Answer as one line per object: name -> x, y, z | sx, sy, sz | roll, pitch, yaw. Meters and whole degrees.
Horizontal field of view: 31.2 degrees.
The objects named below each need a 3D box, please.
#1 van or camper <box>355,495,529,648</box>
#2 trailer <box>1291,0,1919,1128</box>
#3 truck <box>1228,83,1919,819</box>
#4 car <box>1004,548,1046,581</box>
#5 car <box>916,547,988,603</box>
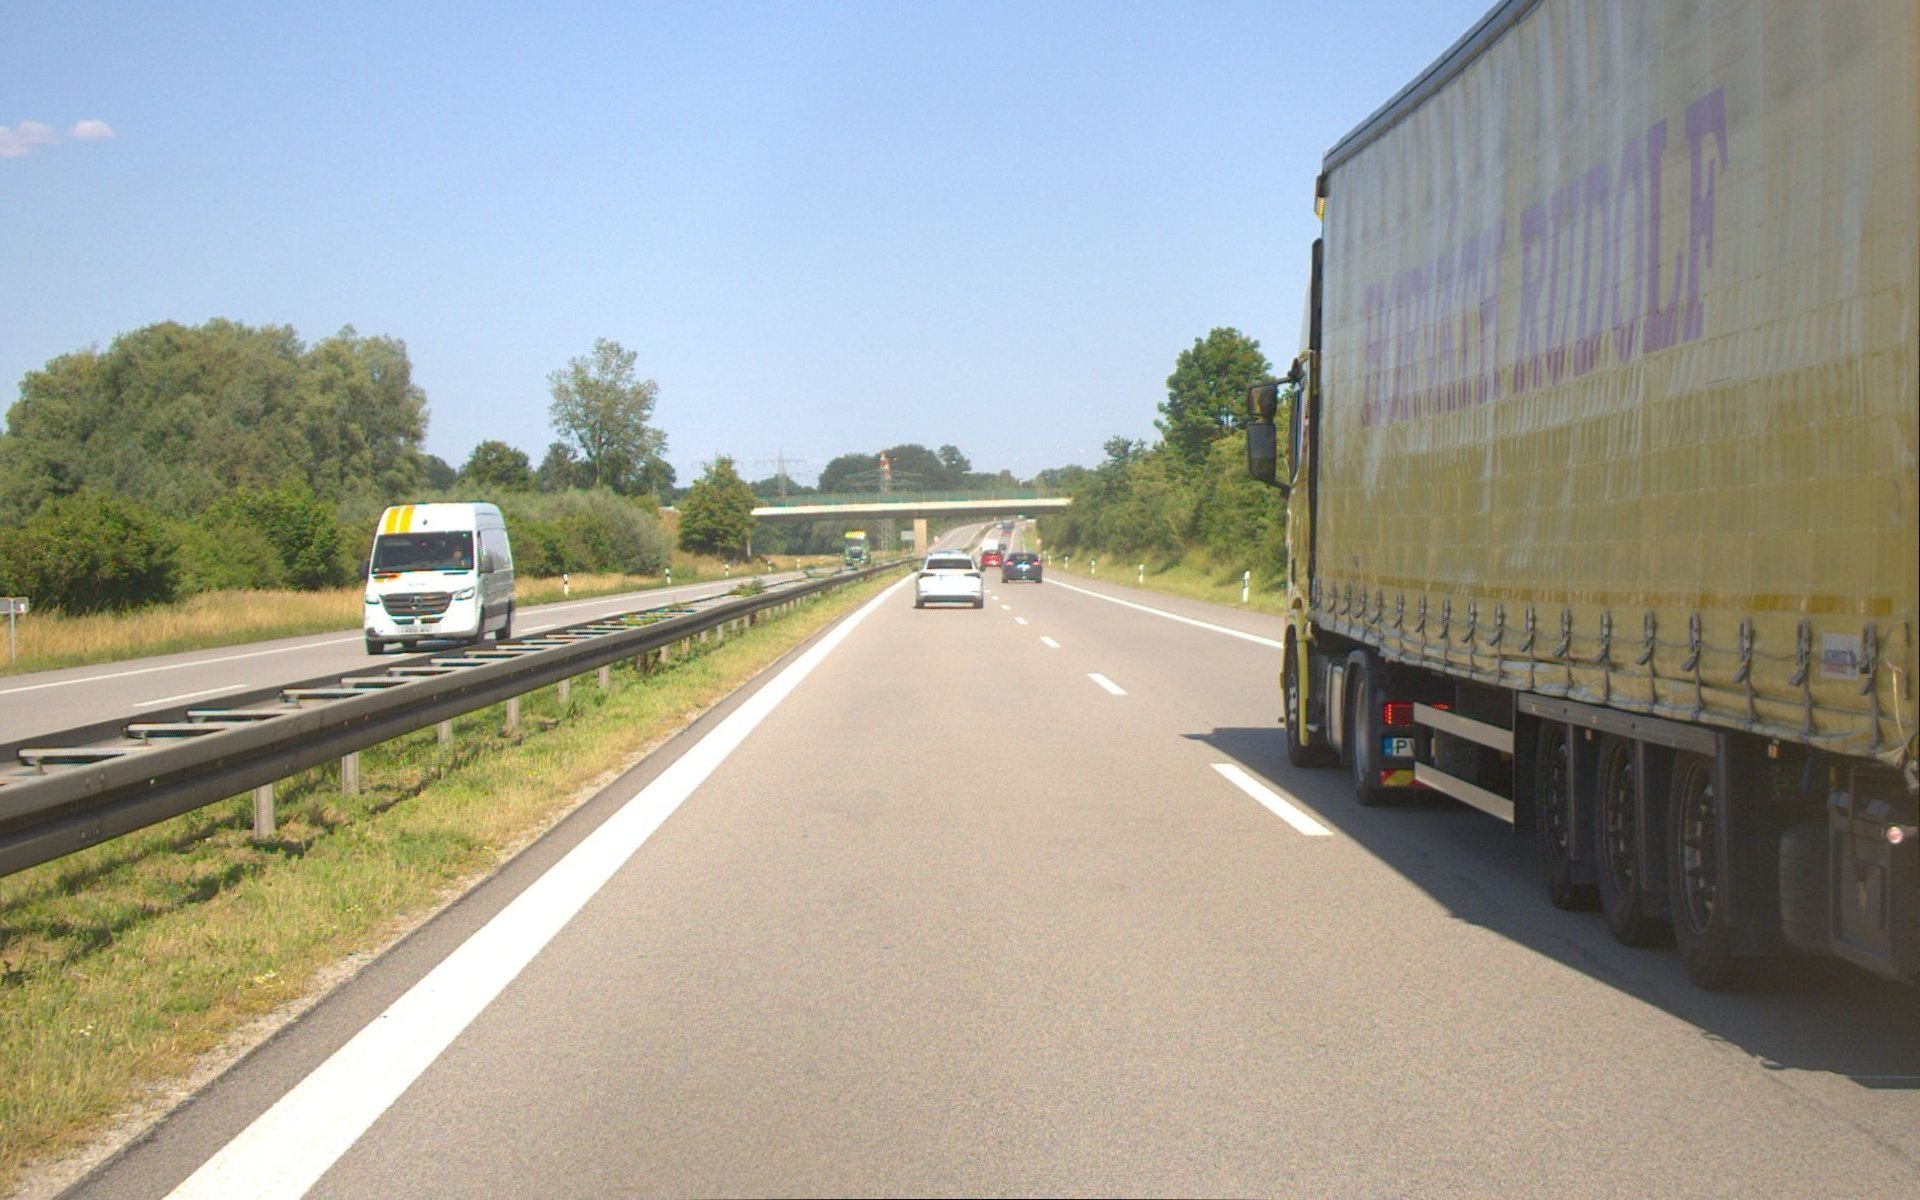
van or camper -> -9.139, -0.521, 61.273 | 1.993, 2.488, 7.228 | -3, 1, -1
trailer -> 3.788, -0.764, 15.161 | 3.184, 4.045, 13.187 | 1, 1, -1
truck -> 3.707, -0.871, 22.562 | 3.168, 4.100, 6.389 | 1, 1, -2
car -> 3.035, -1.664, 160.890 | 1.843, 1.515, 4.000 | 1, 1, 0
car -> -0.202, -0.675, 90.562 | 1.843, 1.411, 4.000 | 1, 1, 0
